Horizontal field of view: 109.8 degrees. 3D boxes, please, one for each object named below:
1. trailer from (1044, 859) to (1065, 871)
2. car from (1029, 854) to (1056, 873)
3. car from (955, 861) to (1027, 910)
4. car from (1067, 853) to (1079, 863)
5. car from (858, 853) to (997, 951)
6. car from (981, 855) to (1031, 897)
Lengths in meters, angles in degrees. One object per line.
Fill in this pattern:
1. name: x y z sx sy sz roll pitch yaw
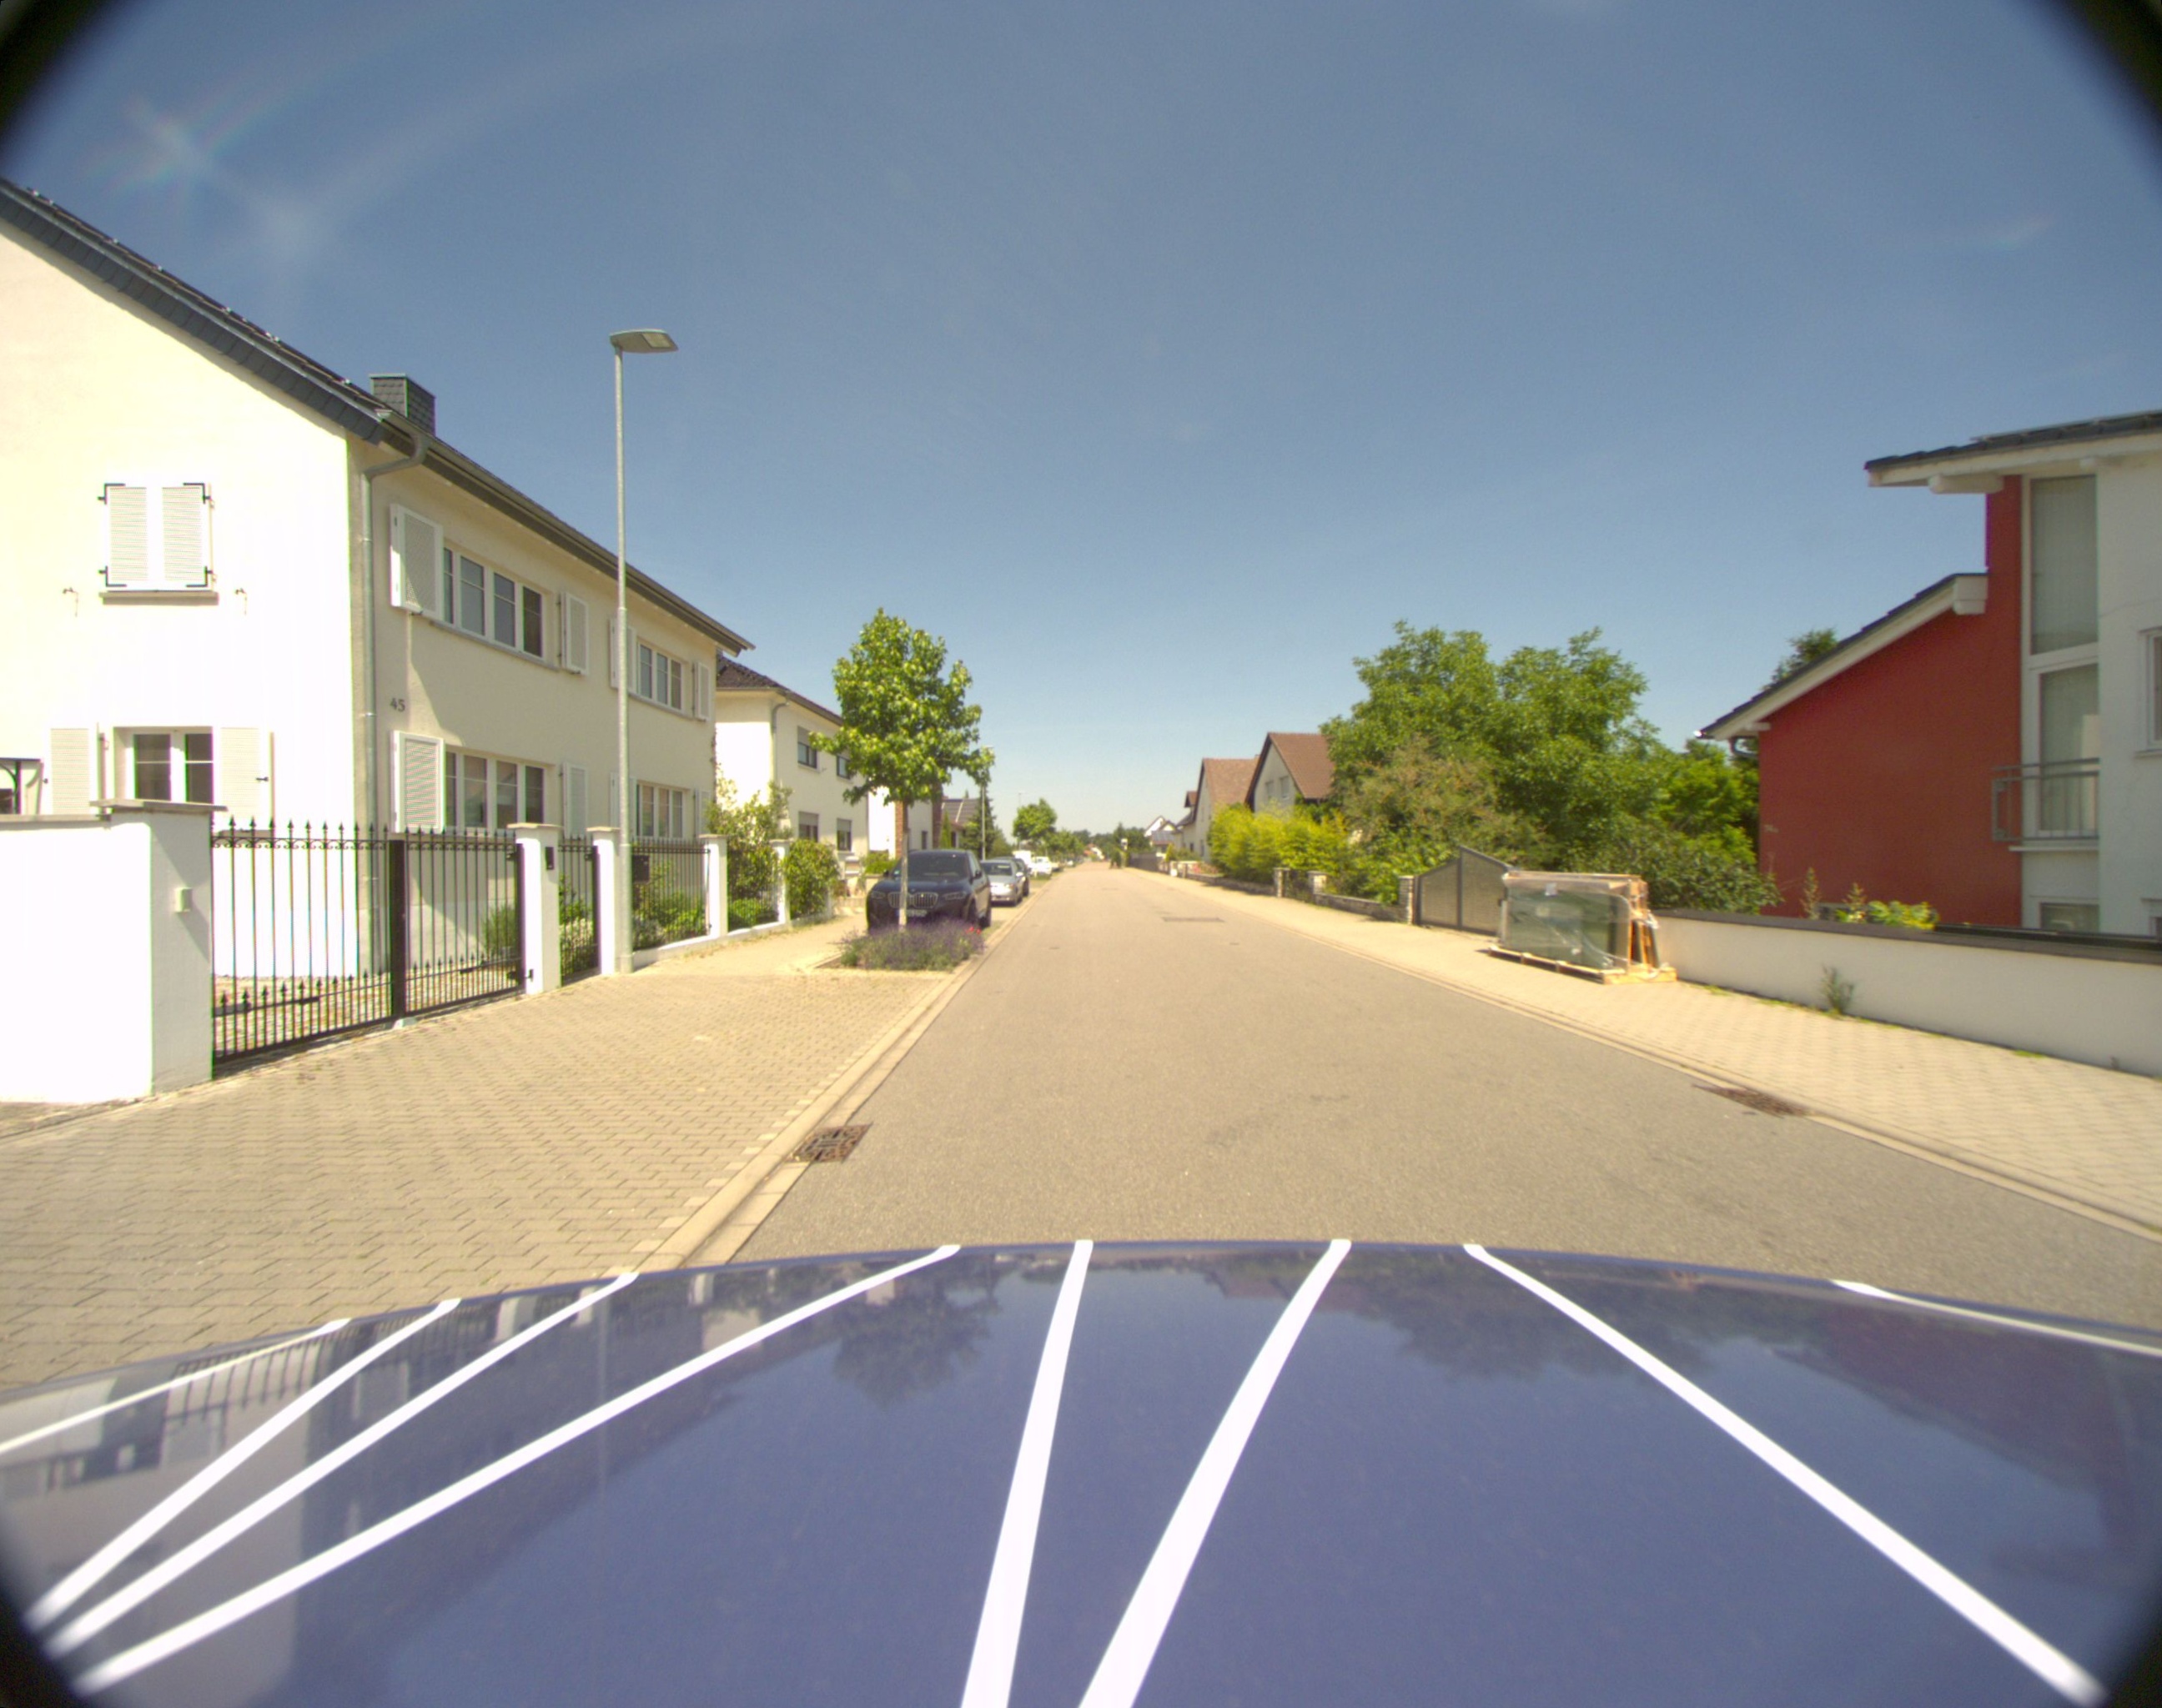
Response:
1. trailer: -2.528 1.027 72.377 1.792 1.052 2.899 -1 0 1
2. car: -2.869 0.684 57.279 1.819 1.412 3.867 -1 0 -1
3. car: -2.803 0.943 24.530 1.819 1.412 4.093 -1 0 0
4. car: -1.327 0.611 126.341 1.597 1.630 3.803 0 0 4
5. car: -2.849 0.833 15.158 1.819 1.646 4.564 -1 0 0
6. car: -2.905 0.825 30.169 1.746 1.524 4.447 -1 0 -3
